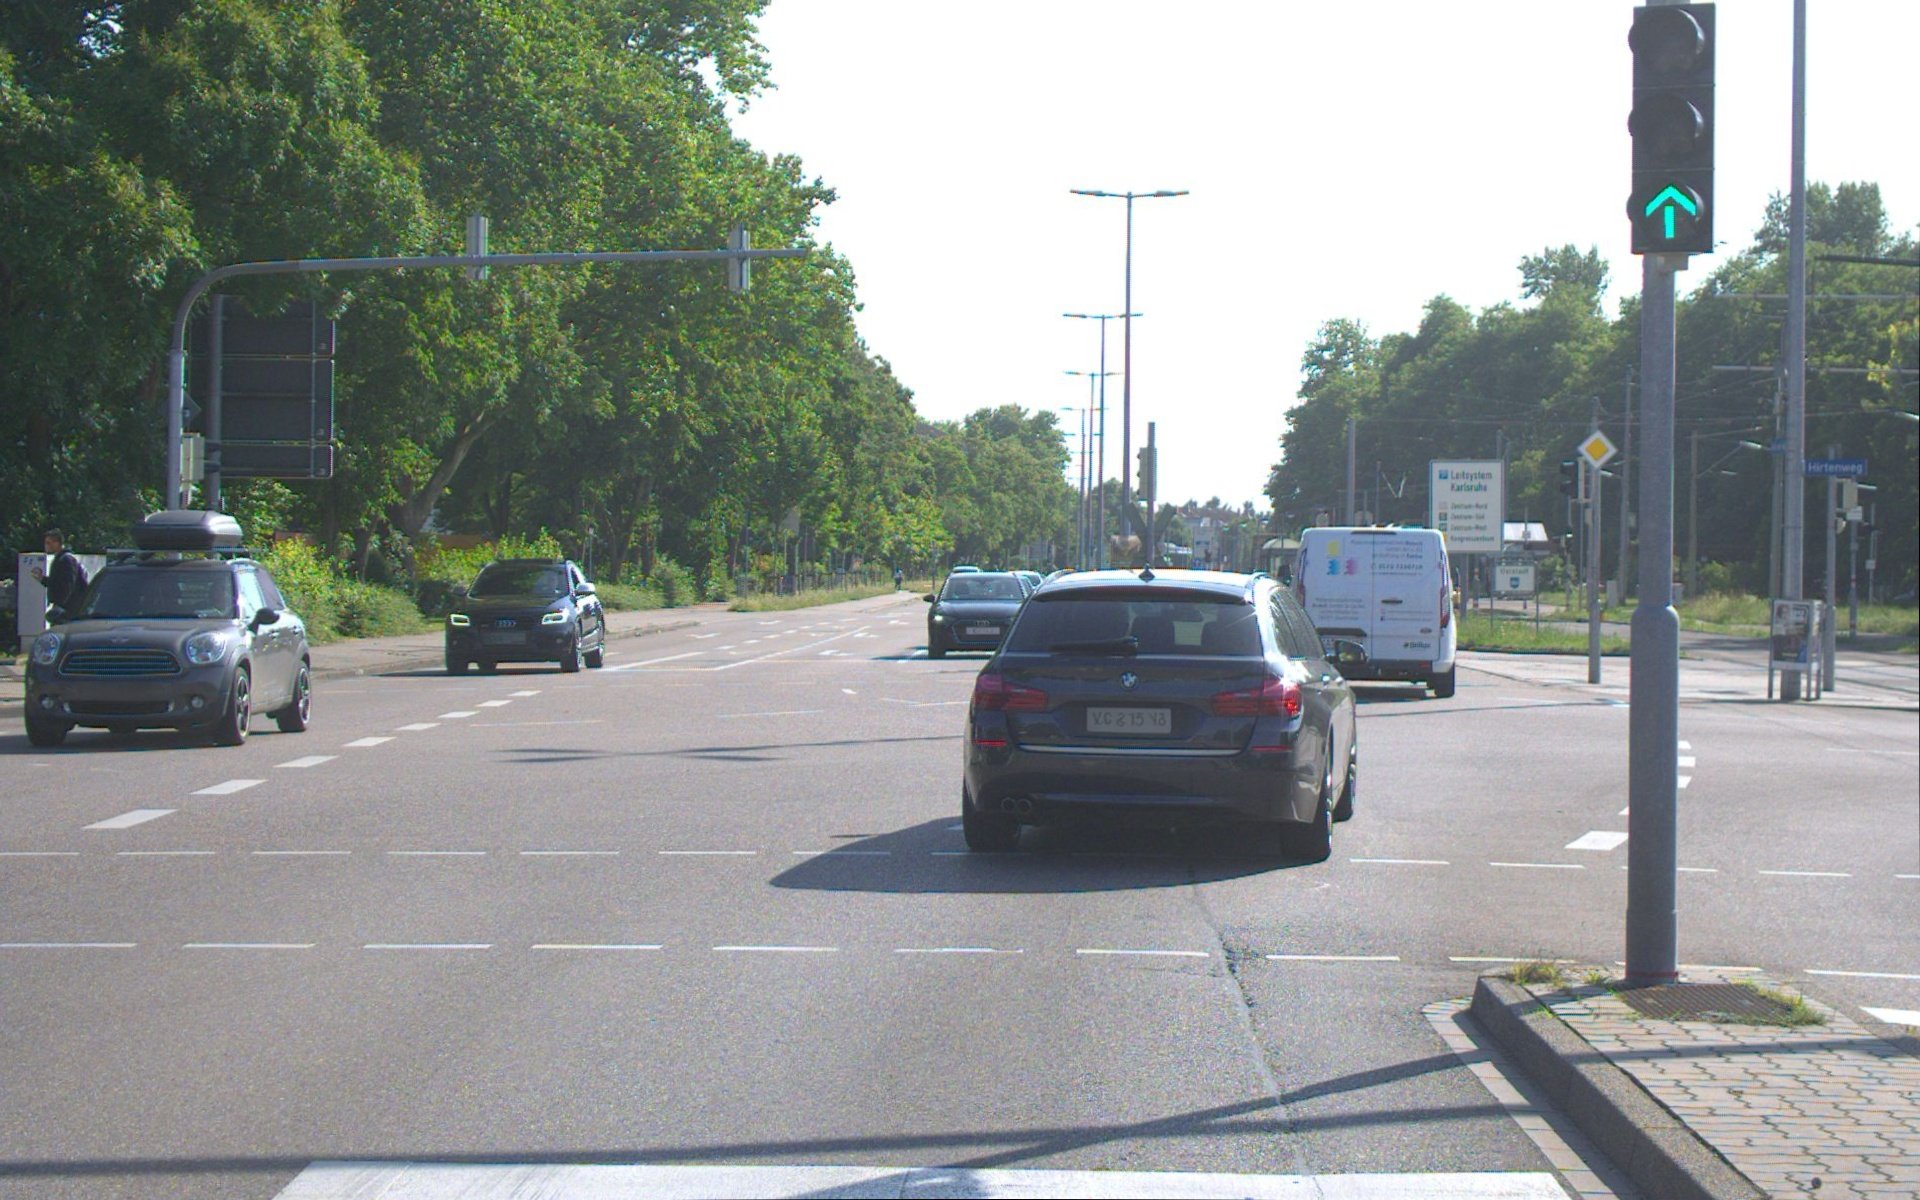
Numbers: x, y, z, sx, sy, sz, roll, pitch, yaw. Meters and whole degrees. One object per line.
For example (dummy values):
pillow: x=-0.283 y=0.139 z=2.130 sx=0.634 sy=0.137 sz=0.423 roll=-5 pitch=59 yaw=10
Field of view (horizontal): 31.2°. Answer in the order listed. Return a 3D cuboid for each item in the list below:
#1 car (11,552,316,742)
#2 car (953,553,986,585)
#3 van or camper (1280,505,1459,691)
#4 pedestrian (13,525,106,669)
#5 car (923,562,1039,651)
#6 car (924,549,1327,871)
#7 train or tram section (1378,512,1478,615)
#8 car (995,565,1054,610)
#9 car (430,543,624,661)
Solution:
car: x=-6.761 y=0.353 z=29.566 sx=1.788 sy=1.515 sz=4.000 roll=0 pitch=1 yaw=-2
car: x=0.563 y=-1.765 z=193.270 sx=1.788 sy=1.766 sz=4.569 roll=1 pitch=1 yaw=1
van or camper: x=4.934 y=-0.049 z=41.475 sx=1.994 sy=2.089 sz=4.597 roll=1 pitch=1 yaw=7
pedestrian: x=-11.166 y=-0.049 z=42.642 sx=0.816 sy=1.746 sz=0.931 roll=1 pitch=1 yaw=6
car: x=0.396 y=0.083 z=57.903 sx=1.829 sy=1.426 sz=4.731 roll=0 pitch=1 yaw=2
car: x=0.992 y=0.503 z=18.517 sx=1.903 sy=1.500 sz=4.064 roll=1 pitch=1 yaw=6
train or tram section: x=17.705 y=-1.324 z=130.743 sx=2.796 sy=3.606 sz=12.954 roll=2 pitch=0 yaw=4
car: x=2.240 y=-0.444 z=118.080 sx=1.849 sy=1.472 sz=4.645 roll=1 pitch=1 yaw=3
car: x=-6.288 y=0.001 z=50.413 sx=1.989 sy=1.653 sz=4.384 roll=0 pitch=1 yaw=4
